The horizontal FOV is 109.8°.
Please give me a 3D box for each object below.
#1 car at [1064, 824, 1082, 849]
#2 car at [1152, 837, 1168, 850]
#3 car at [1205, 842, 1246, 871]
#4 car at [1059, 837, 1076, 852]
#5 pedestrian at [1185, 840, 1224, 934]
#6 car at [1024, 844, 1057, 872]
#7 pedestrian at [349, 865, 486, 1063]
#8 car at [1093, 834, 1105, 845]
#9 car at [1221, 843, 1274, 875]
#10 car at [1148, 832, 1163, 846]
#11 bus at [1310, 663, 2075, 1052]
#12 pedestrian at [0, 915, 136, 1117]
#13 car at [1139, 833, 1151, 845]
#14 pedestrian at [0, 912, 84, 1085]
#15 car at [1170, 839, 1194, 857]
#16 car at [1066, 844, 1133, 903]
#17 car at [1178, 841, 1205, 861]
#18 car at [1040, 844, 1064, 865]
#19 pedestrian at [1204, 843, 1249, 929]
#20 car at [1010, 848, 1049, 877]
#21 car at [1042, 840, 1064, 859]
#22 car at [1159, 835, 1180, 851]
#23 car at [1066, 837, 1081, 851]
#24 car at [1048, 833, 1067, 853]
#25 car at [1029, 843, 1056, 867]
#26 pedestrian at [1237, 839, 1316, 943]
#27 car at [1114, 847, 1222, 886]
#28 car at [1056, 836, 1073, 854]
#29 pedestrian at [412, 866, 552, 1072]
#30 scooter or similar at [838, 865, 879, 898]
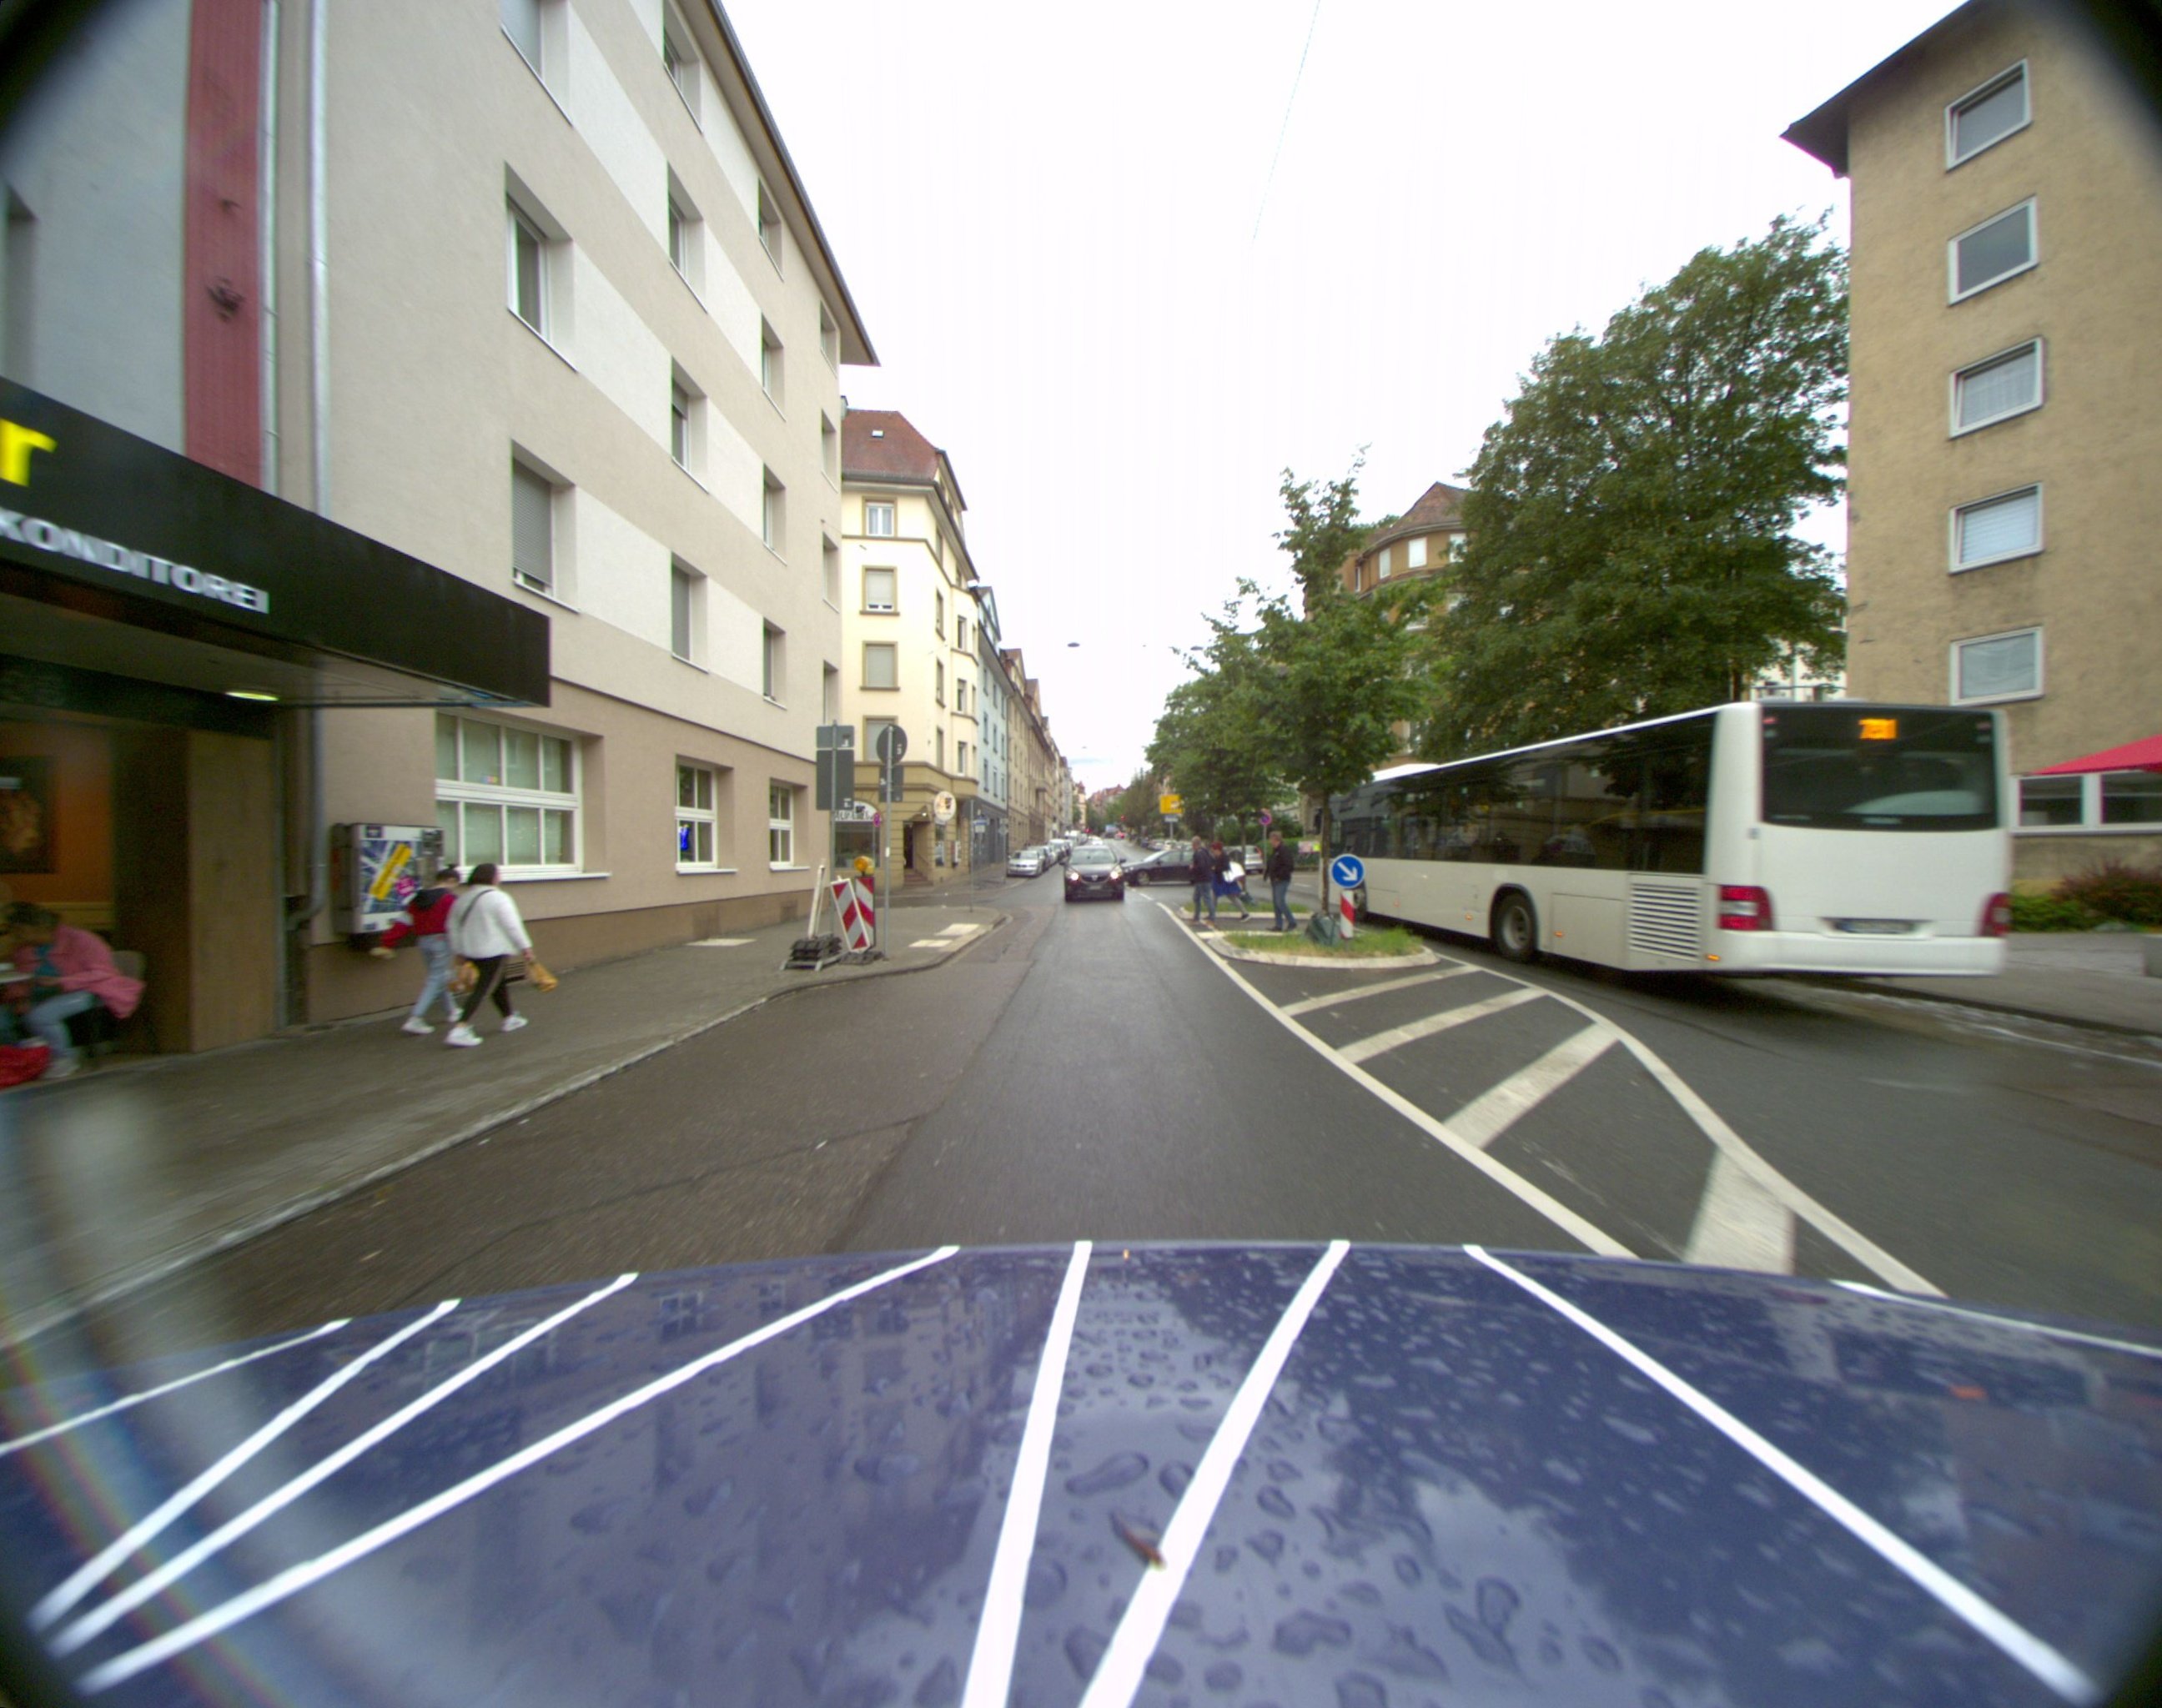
[{"bbox_3d":[-1.127,-2.718,117.356,2.554,3.613,9.048,-1,1,0],"label":"car"},{"bbox_3d":[9.873,-1.290,95.262,1.558,1.507,3.393,-3,1,1],"label":"car"},{"bbox_3d":[8.356,0.130,44.155,1.672,1.507,3.392,-3,1,-1],"label":"car"},{"bbox_3d":[-1.674,-1.188,93.336,1.998,1.871,3.999,-1,1,0],"label":"car"},{"bbox_3d":[2.351,0.613,14.477,0.611,1.739,0.698,-1,1,2],"label":"pedestrian"},{"bbox_3d":[-2.494,0.220,47.739,1.817,1.583,3.893,-2,1,0],"label":"car"},{"bbox_3d":[-6.016,0.933,6.898,0.701,1.637,0.784,2,1,36],"label":"pedestrian"},{"bbox_3d":[2.908,-2.306,123.451,1.796,1.768,3.902,-1,1,0],"label":"car"},{"bbox_3d":[8.631,0.226,39.647,1.813,1.507,3.675,-3,1,-1],"label":"car"},{"bbox_3d":[9.782,-1.980,100.372,1.640,1.871,3.658,-1,1,0],"label":"car"},{"bbox_3d":[7.109,-0.089,12.592,2.812,3.228,11.958,3,1,0],"label":"bus"},{"bbox_3d":[-7.384,1.091,5.324,0.703,1.251,0.658,2,1,1],"label":"pedestrian"},{"bbox_3d":[10.155,-2.360,120.873,1.640,1.871,3.658,-1,1,0],"label":"car"},{"bbox_3d":[-8.512,1.112,5.893,0.703,1.251,0.658,2,1,1],"label":"pedestrian"},{"bbox_3d":[9.125,-0.589,68.938,1.672,1.507,3.393,-3,1,0],"label":"car"},{"bbox_3d":[0.509,0.549,24.394,1.856,1.646,4.203,-2,1,-2],"label":"car"},{"bbox_3d":[9.161,-0.284,63.433,1.672,1.507,3.696,-3,1,0],"label":"car"},{"bbox_3d":[-2.229,0.012,58.759,1.733,1.486,3.550,-2,1,0],"label":"car"},{"bbox_3d":[2.922,0.618,15.231,0.791,1.656,0.699,1,1,16],"label":"pedestrian"},{"bbox_3d":[-2.812,0.437,42.163,1.856,1.456,4.203,-2,1,0],"label":"car"},{"bbox_3d":[-2.328,-0.401,64.727,1.733,1.486,3.550,-2,1,0],"label":"car"},{"bbox_3d":[9.205,-1.155,79.065,1.672,1.507,3.393,-3,1,0],"label":"car"},{"bbox_3d":[-0.961,-1.389,102.452,1.998,1.871,3.999,-1,1,0],"label":"car"},{"bbox_3d":[-2.335,-1.108,75.149,1.733,1.887,3.550,-2,1,0],"label":"car"},{"bbox_3d":[-2.722,0.035,54.427,1.776,1.583,3.550,-2,1,0],"label":"car"},{"bbox_3d":[3.367,0.623,13.178,1.063,1.739,0.853,1,1,-6],"label":"pedestrian"},{"bbox_3d":[3.448,0.476,30.571,3.999,1.412,1.810,-1,0,-6],"label":"car"},{"bbox_3d":[-1.735,-0.983,81.817,1.719,1.871,3.907,-1,1,0],"label":"car"},{"bbox_3d":[-5.242,0.938,6.663,0.701,1.637,0.784,2,1,36],"label":"pedestrian"},{"bbox_3d":[-8.876,1.074,30.354,1.482,1.144,0.486,-4,8,-37],"label":"scooter or similar"}]
